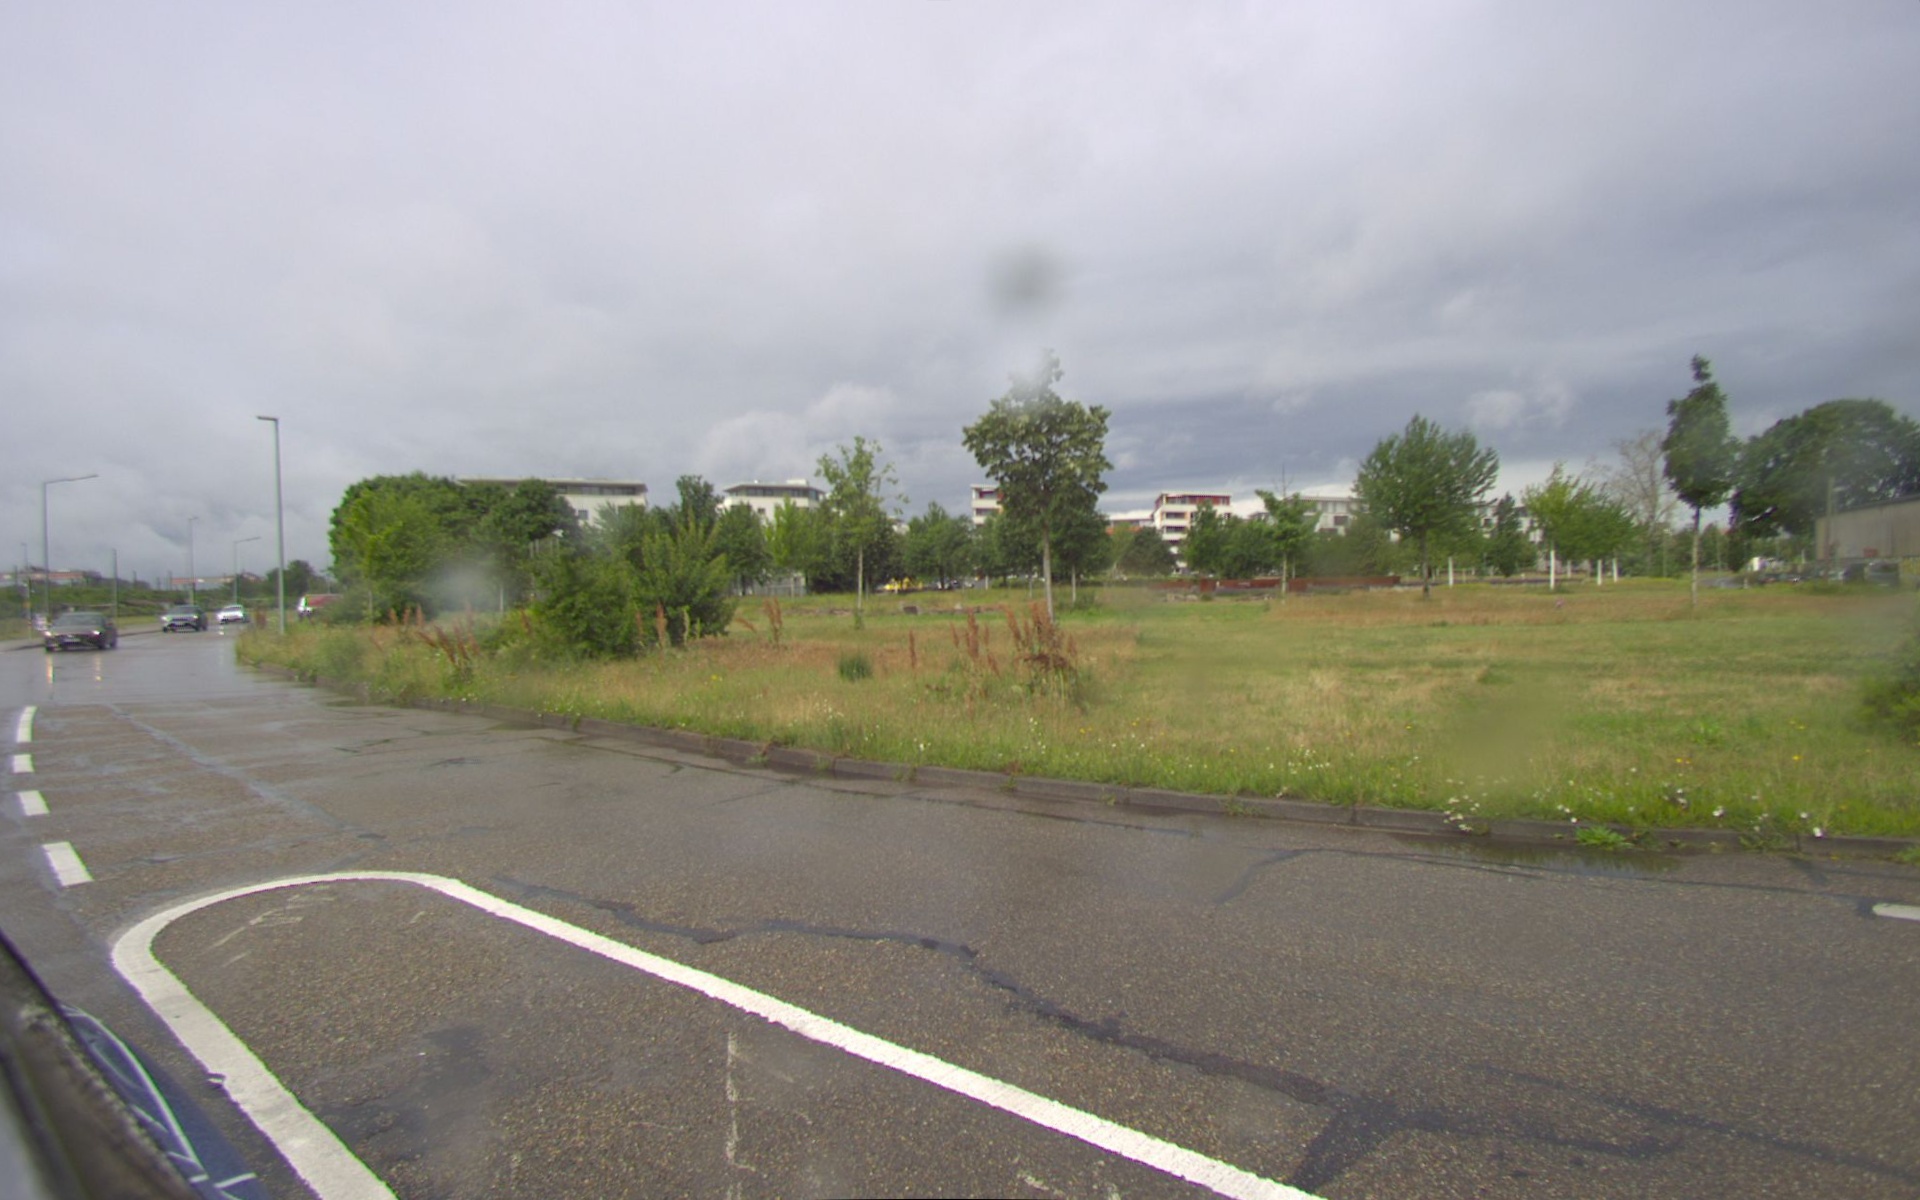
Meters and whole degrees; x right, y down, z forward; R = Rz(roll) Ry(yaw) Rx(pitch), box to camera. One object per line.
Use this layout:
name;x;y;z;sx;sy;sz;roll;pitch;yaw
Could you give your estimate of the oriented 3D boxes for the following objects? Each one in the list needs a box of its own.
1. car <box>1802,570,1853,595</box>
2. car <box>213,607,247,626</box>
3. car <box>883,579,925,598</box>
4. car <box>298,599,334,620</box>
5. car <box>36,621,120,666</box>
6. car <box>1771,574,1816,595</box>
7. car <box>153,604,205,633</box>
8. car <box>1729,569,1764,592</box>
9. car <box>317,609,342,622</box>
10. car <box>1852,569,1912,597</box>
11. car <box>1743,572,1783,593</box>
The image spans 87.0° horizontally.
car;61.566;-1.253;71.896;1.992;1.741;3.960;-1;1;30
car;-60.243;1.338;83.565;1.811;1.530;4.371;-2;1;-30
car;-9.245;-1.943;167.220;6.527;2.633;1.973;-4;2;-27
car;-80.547;1.134;126.720;2.063;2.491;5.964;0;1;-15
car;-34.596;1.661;39.818;1.843;1.530;4.370;0;0;-32
car;65.038;-1.241;79.022;1.992;1.563;3.960;-1;1;30
car;-49.010;1.152;63.604;1.977;1.718;4.342;-2;0;-30
car;72.432;-1.766;93.225;1.992;2.029;3.960;-1;1;30
car;-76.481;1.864;122.820;1.811;1.530;4.371;-2;1;-21
car;56.615;-1.046;62.220;1.641;1.652;3.965;-1;1;26
car;68.228;-1.503;86.036;1.992;1.718;3.960;-1;1;30
